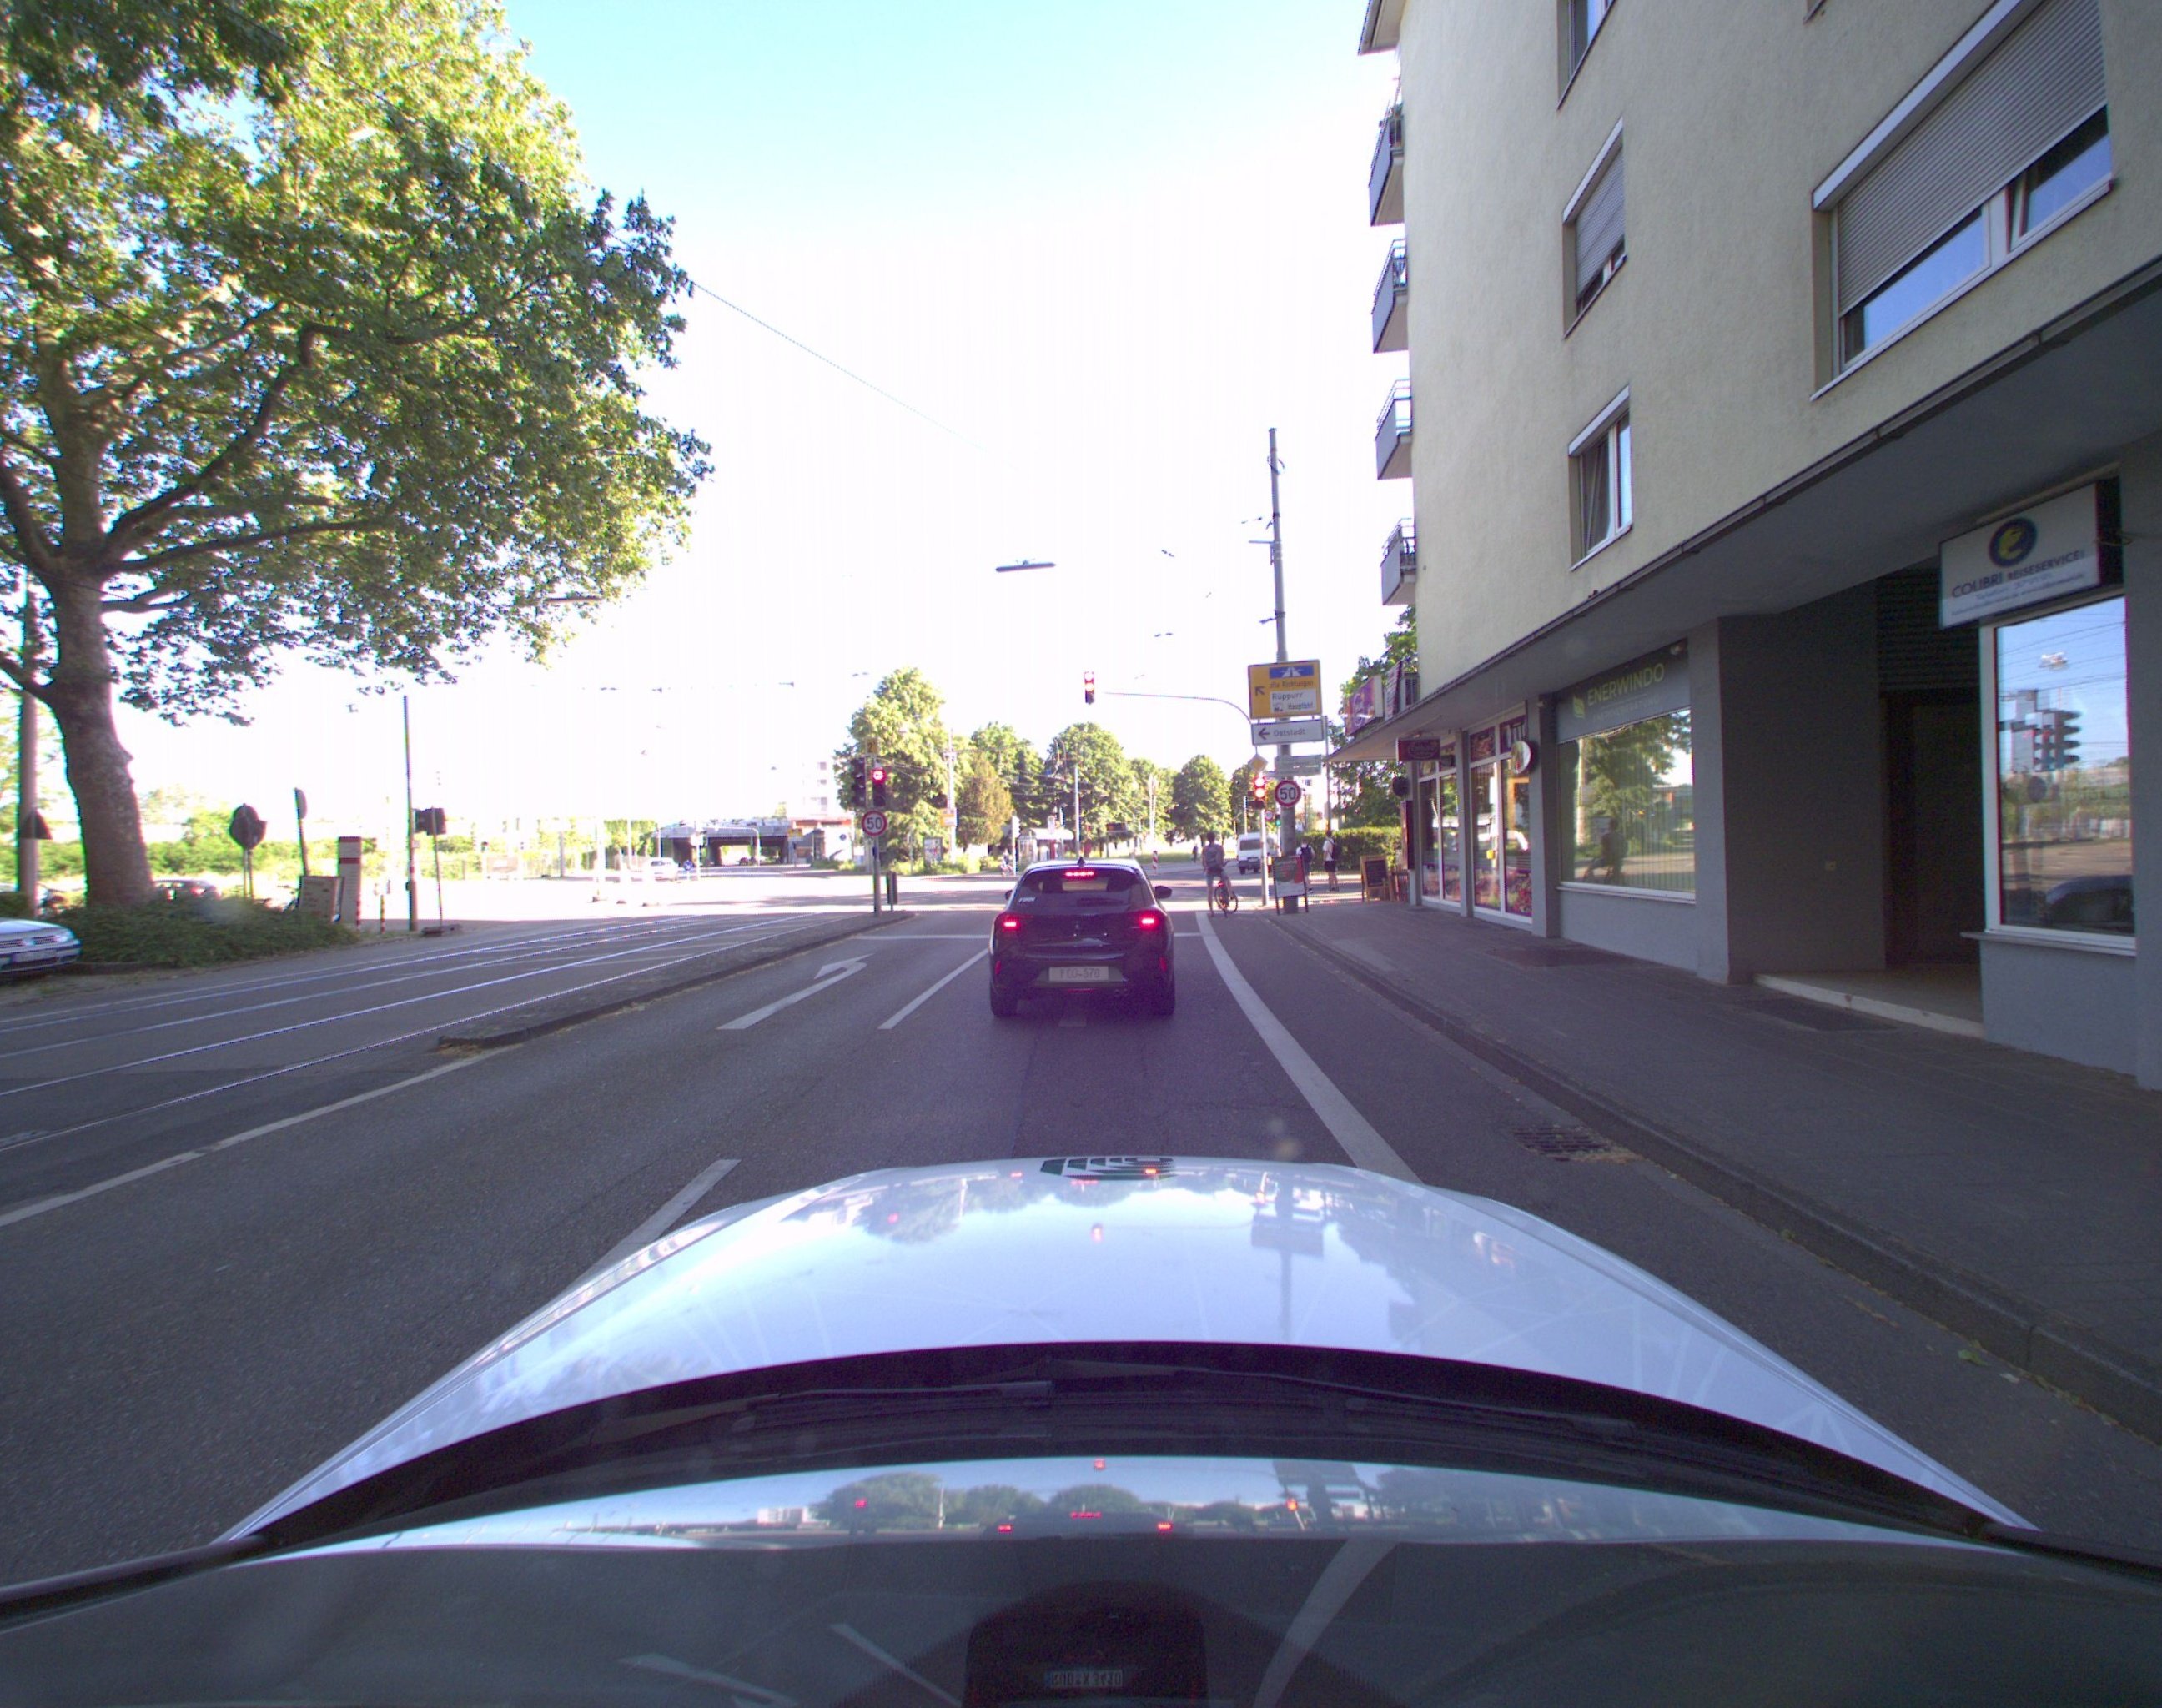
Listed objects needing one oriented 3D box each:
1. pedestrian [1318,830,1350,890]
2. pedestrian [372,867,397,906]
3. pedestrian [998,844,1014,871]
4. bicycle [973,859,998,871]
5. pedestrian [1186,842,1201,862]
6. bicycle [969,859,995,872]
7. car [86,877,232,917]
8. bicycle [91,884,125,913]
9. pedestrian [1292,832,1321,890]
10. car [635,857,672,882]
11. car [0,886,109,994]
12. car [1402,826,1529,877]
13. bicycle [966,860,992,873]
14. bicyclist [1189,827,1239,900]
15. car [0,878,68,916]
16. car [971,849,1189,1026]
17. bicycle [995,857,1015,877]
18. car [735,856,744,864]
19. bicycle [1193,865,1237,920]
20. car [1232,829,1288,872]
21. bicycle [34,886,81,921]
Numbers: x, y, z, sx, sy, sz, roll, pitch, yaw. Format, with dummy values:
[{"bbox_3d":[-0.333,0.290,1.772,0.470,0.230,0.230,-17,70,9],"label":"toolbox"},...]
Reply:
[{"bbox_3d":[7.922,0.185,25.499,0.696,1.846,0.705,-2,0,41],"label":"pedestrian"},{"bbox_3d":[-28.895,1.343,33.799,0.602,1.596,0.679,0,-1,-24],"label":"pedestrian"},{"bbox_3d":[-4.816,0.249,52.218,0.704,1.693,0.719,-2,0,-39],"label":"pedestrian"},{"bbox_3d":[-7.747,0.926,66.040,1.866,0.906,0.661,-2,0,8],"label":"bicycle"},{"bbox_3d":[10.206,-0.165,73.826,0.949,1.793,1.002,-2,0,27],"label":"pedestrian"},{"bbox_3d":[-7.924,0.920,65.173,1.866,0.906,0.661,-2,0,8],"label":"bicycle"},{"bbox_3d":[-43.097,1.992,38.213,4.006,1.419,1.880,-1,6,-25],"label":"car"},{"bbox_3d":[-26.255,1.186,21.972,1.757,0.759,0.360,-1,0,32],"label":"bicycle"},{"bbox_3d":[7.132,0.220,25.777,0.696,1.792,0.617,-2,0,1],"label":"pedestrian"},{"bbox_3d":[-29.624,1.051,56.344,2.007,1.631,4.585,-2,1,-31],"label":"car"},{"bbox_3d":[-16.674,1.204,11.330,3.980,1.417,1.701,0,-1,-5],"label":"car"},{"bbox_3d":[15.109,-0.063,32.212,4.150,1.814,1.811,-2,-3,10],"label":"car"},{"bbox_3d":[-8.050,0.974,64.190,1.866,0.906,0.661,-2,0,8],"label":"bicycle"},{"bbox_3d":[2.897,0.191,17.905,0.837,1.510,1.368,-2,0,0],"label":"bicyclist"},{"bbox_3d":[-48.400,1.931,36.012,4.006,1.419,1.880,-1,6,-25],"label":"car"},{"bbox_3d":[0.101,0.696,8.821,1.793,1.441,3.943,-2,0,3],"label":"car"},{"bbox_3d":[-4.365,0.748,46.883,0.821,1.059,1.885,-2,0,4],"label":"bicycle"},{"bbox_3d":[-84.758,1.533,202.150,2.003,2.014,3.967,0,-1,-25],"label":"car"},{"bbox_3d":[2.916,0.810,17.871,0.665,1.059,2.083,-2,0,2],"label":"bicycle"},{"bbox_3d":[10.142,-0.177,45.936,2.070,2.277,4.331,-1,-1,26],"label":"car"},{"bbox_3d":[-25.053,1.197,19.948,0.360,0.759,1.759,-2,0,-40],"label":"bicycle"}]
